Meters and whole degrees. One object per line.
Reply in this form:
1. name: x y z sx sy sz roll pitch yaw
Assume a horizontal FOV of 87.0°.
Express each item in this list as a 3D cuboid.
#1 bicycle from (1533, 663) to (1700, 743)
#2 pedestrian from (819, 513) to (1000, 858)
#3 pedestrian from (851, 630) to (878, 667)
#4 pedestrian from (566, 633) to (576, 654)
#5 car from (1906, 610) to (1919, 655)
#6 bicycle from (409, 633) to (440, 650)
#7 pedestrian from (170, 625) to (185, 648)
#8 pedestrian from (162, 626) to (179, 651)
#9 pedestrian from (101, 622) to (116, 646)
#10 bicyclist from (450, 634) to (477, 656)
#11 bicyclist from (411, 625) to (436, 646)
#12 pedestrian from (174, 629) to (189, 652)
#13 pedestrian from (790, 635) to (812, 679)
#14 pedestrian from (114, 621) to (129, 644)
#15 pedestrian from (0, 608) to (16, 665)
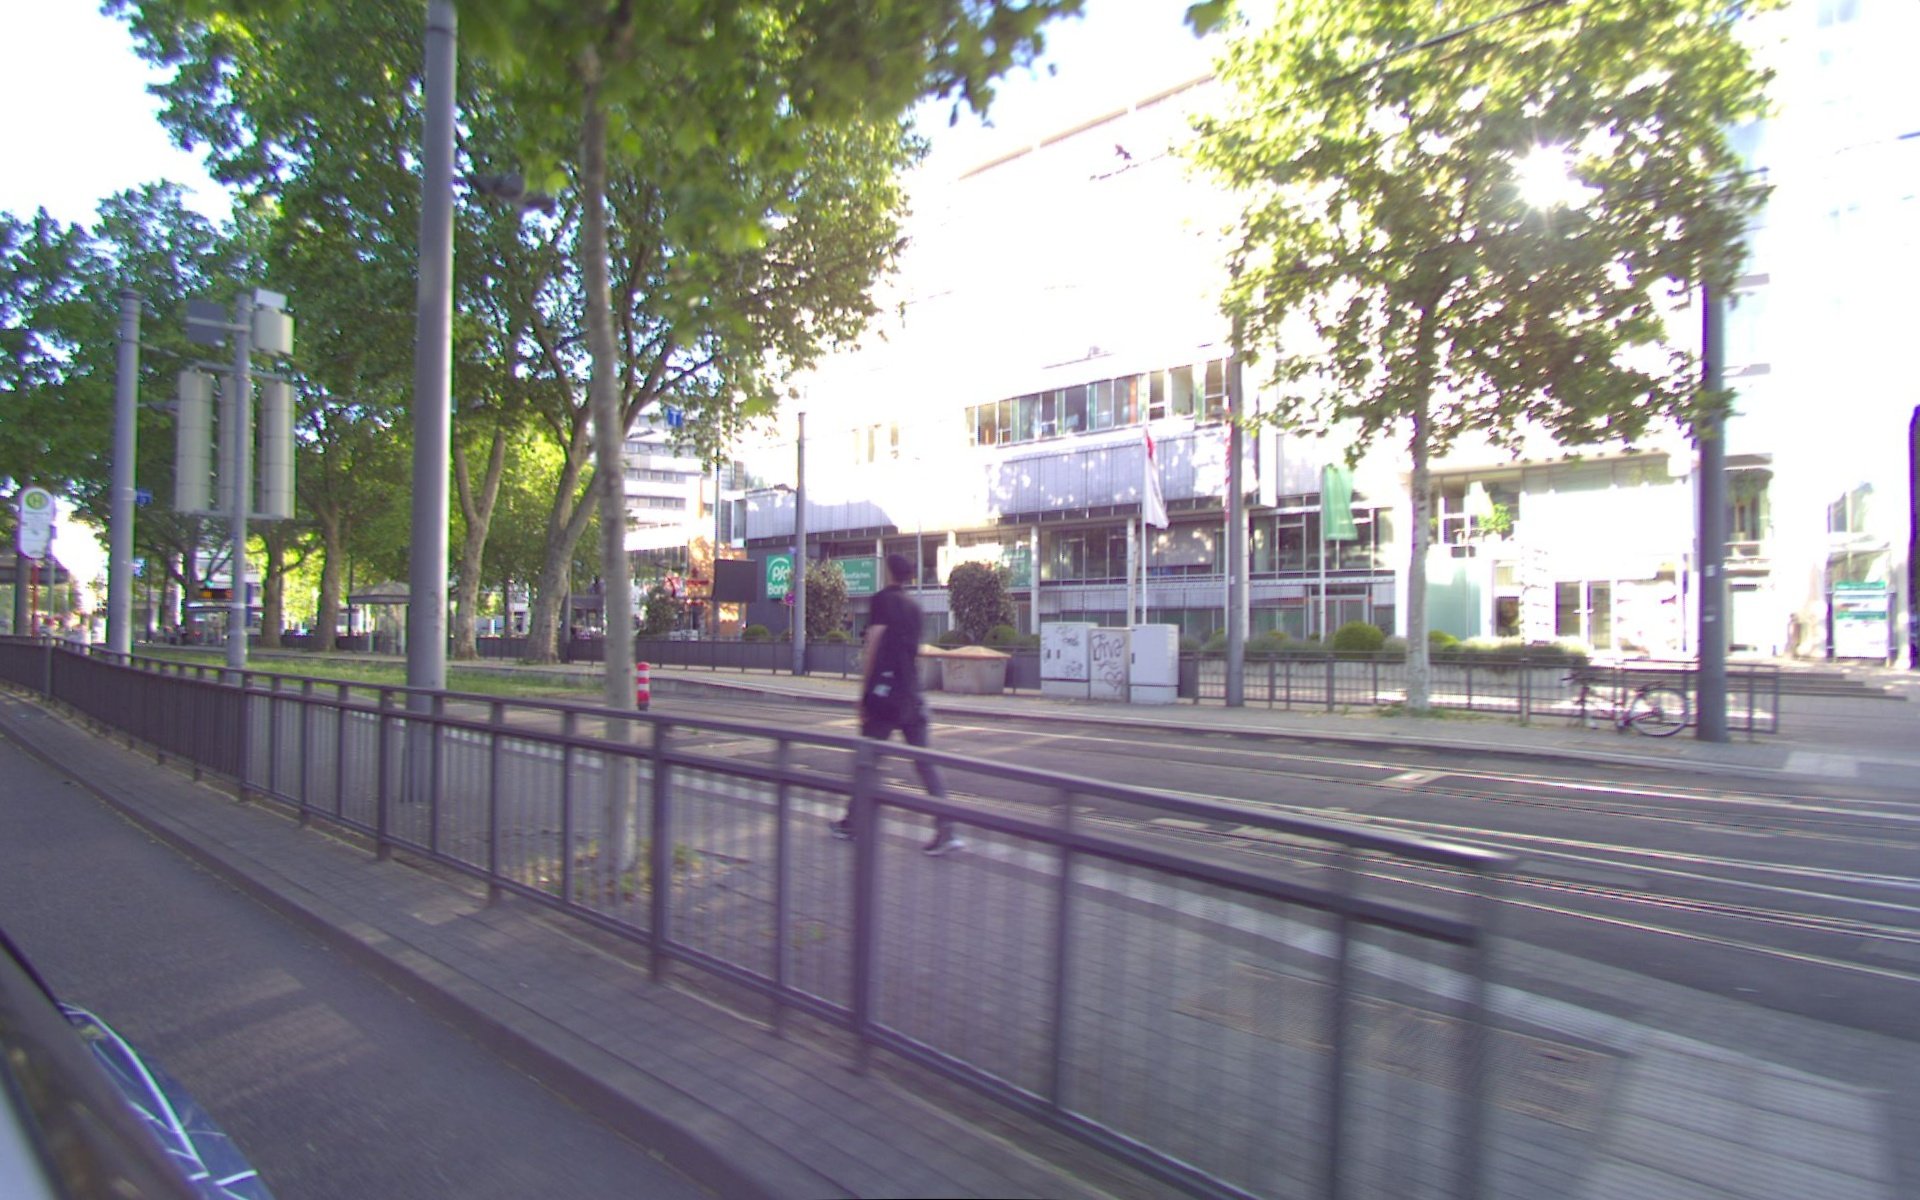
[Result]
1. bicycle: 8.787 1.342 13.596 0.803 0.953 1.728 2 -3 -42
2. pedestrian: -0.288 0.449 5.677 0.725 1.760 0.712 2 -3 -44
3. pedestrian: -4.190 2.100 44.284 0.767 1.604 0.896 -2 -3 41
4. pedestrian: -30.490 3.434 79.318 0.571 1.616 0.580 2 -3 -43
5. car: 58.805 1.975 60.950 2.229 2.675 5.062 -1 -2 38
6. bicycle: -34.024 2.640 64.261 2.583 1.004 0.792 -2 -2 40
7. pedestrian: -51.153 2.382 66.167 0.549 1.509 0.548 -1 -3 30
8. pedestrian: -52.856 2.550 67.757 0.667 1.654 0.662 -1 -2 30
9. pedestrian: -63.614 2.540 75.620 0.674 1.767 0.649 -2 -3 34
10. bicyclist: -29.147 2.625 59.457 1.374 1.259 0.993 -2 -2 43
11. bicyclist: -34.087 2.248 64.311 1.373 1.259 0.994 -2 -2 40
12. pedestrian: -50.632 2.614 65.853 0.606 1.497 0.565 -2 -3 30
13. pedestrian: -7.273 2.608 46.245 0.833 1.991 0.599 -2 -2 40
14. pedestrian: -63.067 2.476 76.148 0.697 1.709 0.678 -2 -3 34
15. pedestrian: -32.193 1.217 33.975 0.753 1.886 0.638 -2 -3 43
